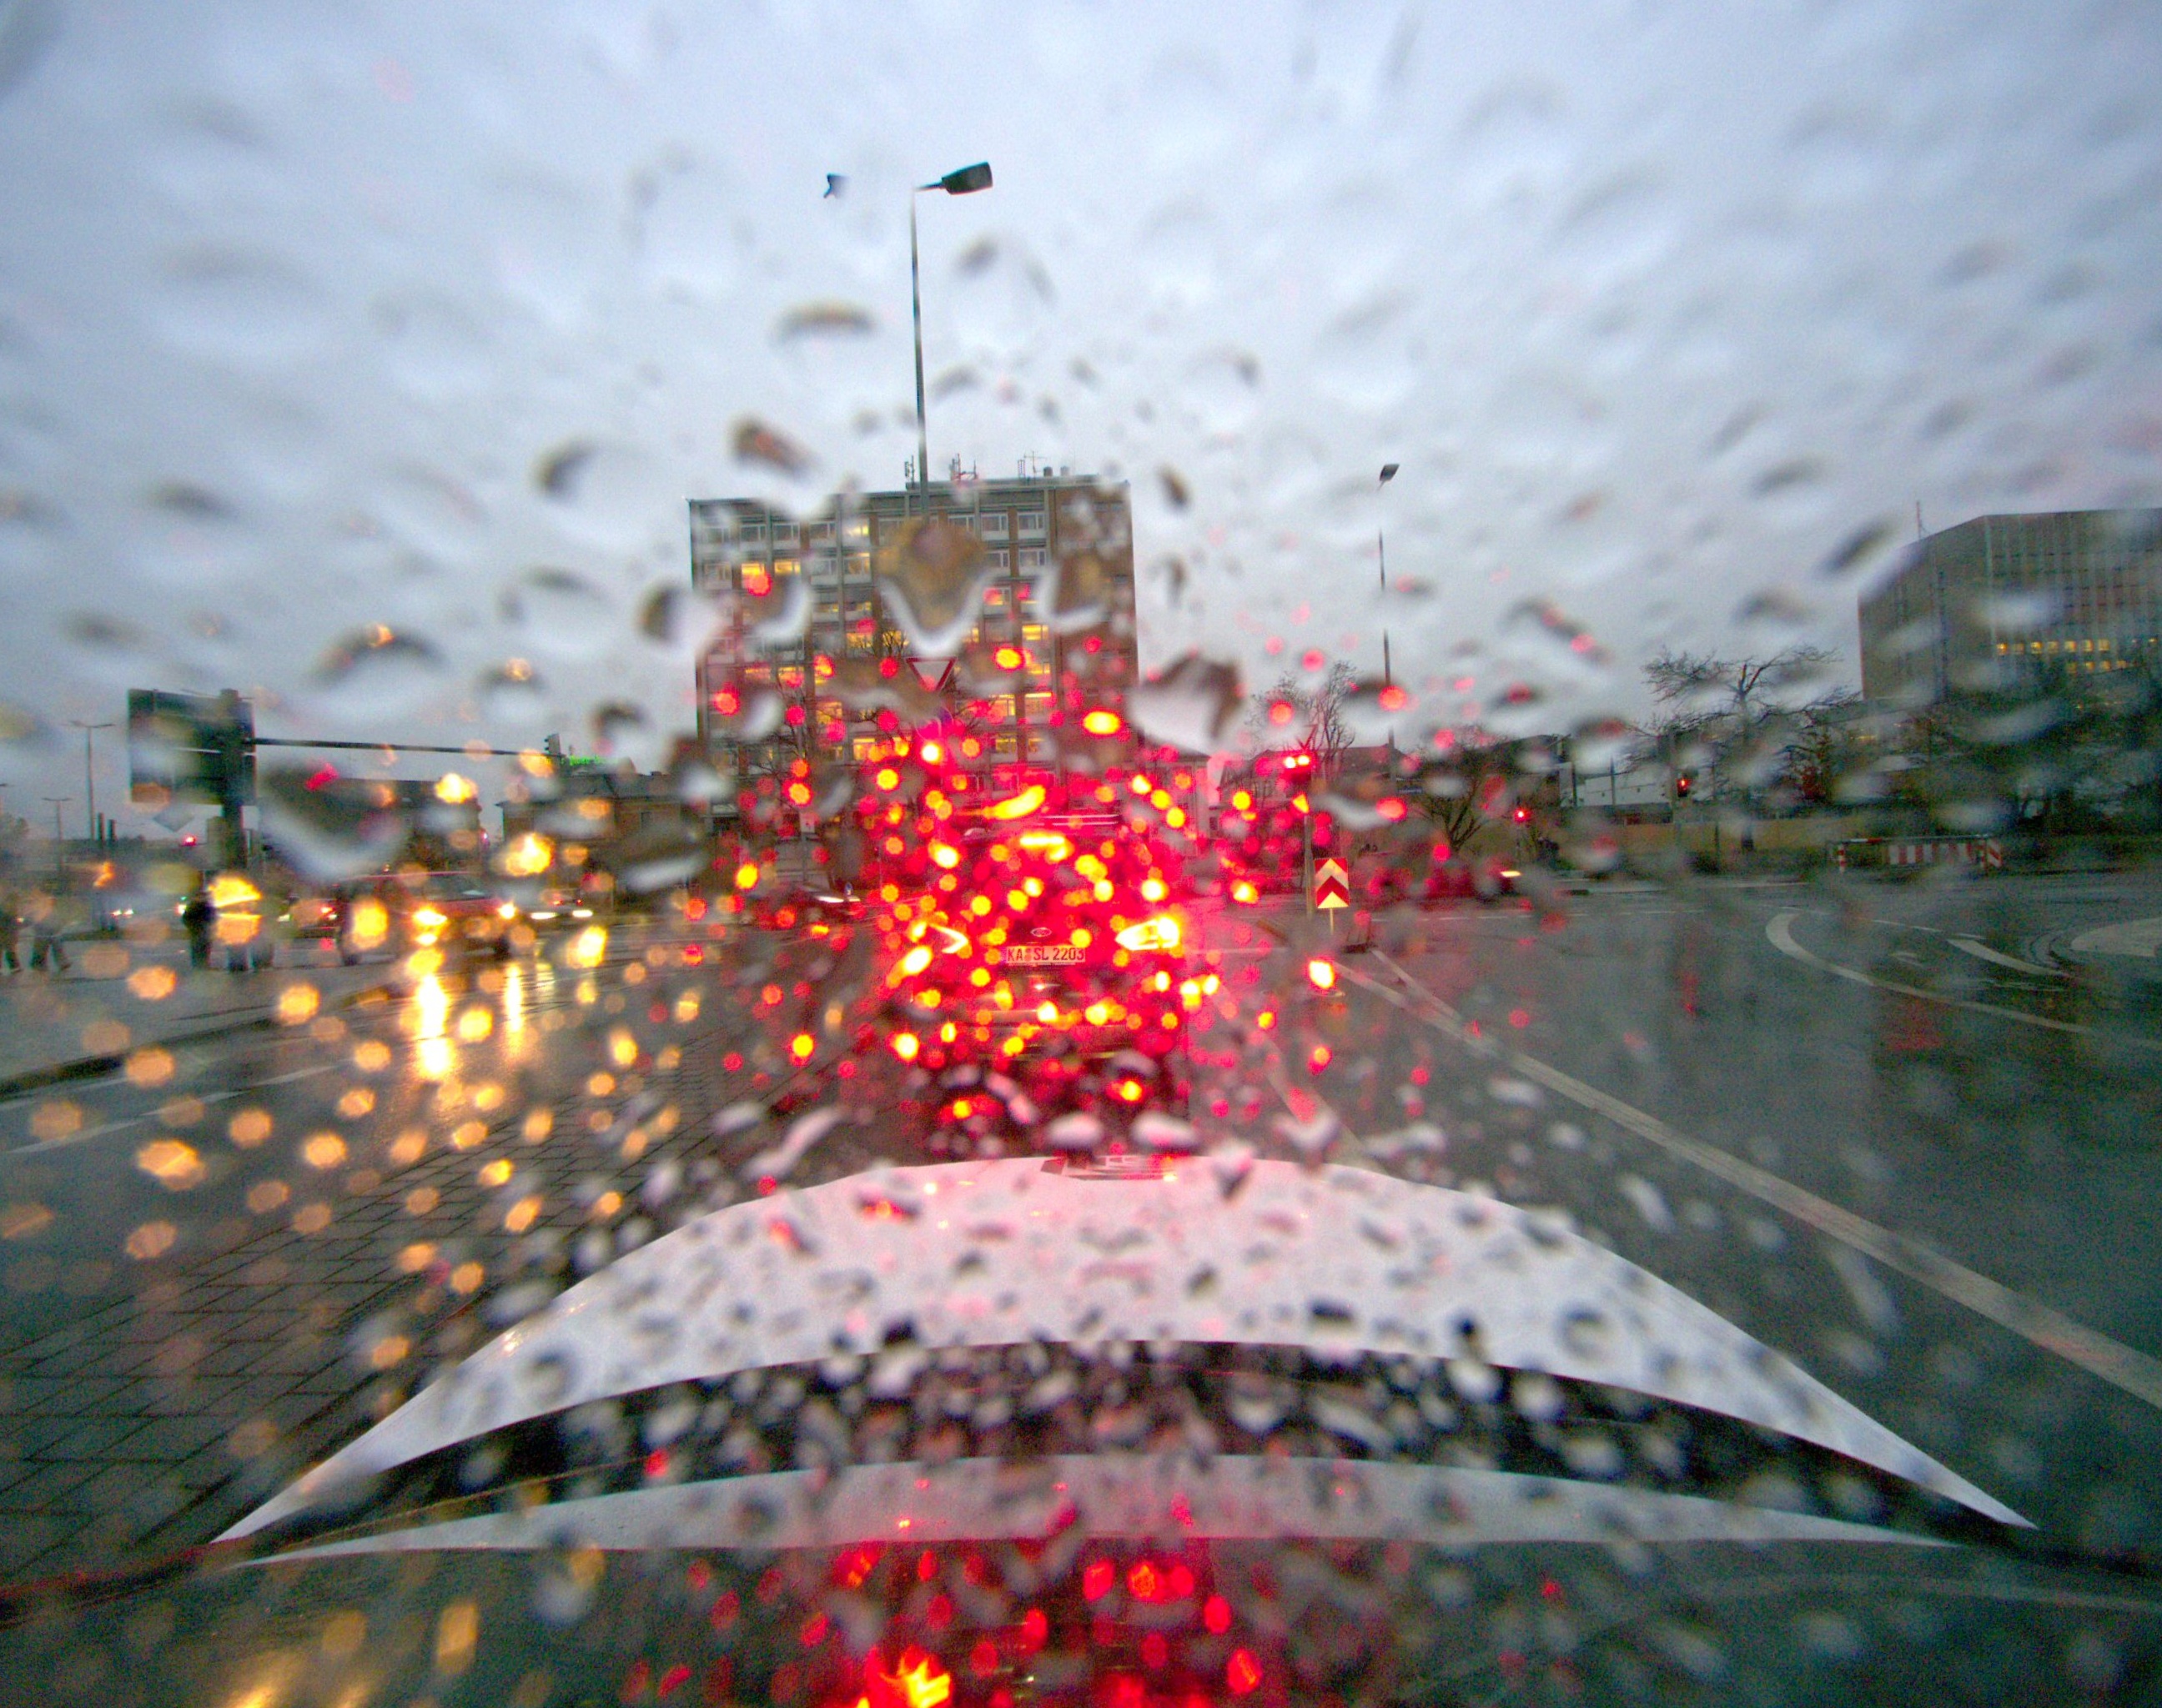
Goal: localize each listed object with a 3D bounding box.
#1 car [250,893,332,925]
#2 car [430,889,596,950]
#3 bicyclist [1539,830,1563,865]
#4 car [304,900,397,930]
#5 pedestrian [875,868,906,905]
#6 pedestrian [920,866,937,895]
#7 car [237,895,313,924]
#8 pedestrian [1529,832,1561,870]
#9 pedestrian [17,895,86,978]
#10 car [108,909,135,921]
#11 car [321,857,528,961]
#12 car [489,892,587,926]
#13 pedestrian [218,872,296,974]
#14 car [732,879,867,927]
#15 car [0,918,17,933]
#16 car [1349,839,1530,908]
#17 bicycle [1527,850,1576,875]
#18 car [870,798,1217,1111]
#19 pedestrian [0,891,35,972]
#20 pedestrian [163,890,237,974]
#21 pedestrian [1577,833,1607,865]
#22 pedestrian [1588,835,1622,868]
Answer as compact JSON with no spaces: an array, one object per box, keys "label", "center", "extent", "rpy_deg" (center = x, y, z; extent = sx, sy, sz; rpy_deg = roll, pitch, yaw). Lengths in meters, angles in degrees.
[{"label":"car","center":[-51.153,3.541,52.770],"extent":[1.649,1.826,3.609],"rpy_deg":[-1,-1,39]},{"label":"car","center":[-17.519,2.010,25.190],"extent":[4.096,1.582,1.847],"rpy_deg":[-3,-1,12]},{"label":"bicyclist","center":[22.105,-0.323,38.323],"extent":[0.681,1.599,0.661],"rpy_deg":[-3,0,7]},{"label":"car","center":[-43.814,3.631,48.916],"extent":[1.582,1.482,3.840],"rpy_deg":[-1,-1,31]},{"label":"pedestrian","center":[-10.092,1.723,43.190],"extent":[0.992,1.842,1.146],"rpy_deg":[-3,2,25]},{"label":"pedestrian","center":[-8.996,1.567,48.108],"extent":[0.634,1.688,0.640],"rpy_deg":[-3,0,18]},{"label":"car","center":[-53.088,3.625,53.662],"extent":[1.505,1.702,3.411],"rpy_deg":[-1,-1,39]},{"label":"pedestrian","center":[23.044,-0.163,40.432],"extent":[0.992,1.799,0.920],"rpy_deg":[-3,0,2]},{"label":"pedestrian","center":[-24.110,1.926,19.079],"extent":[0.669,1.838,0.738],"rpy_deg":[-3,0,16]},{"label":"car","center":[-142.876,9.018,121.254],"extent":[1.747,1.509,3.954],"rpy_deg":[-3,0,-38]},{"label":"car","center":[-15.034,1.262,18.613],"extent":[4.585,2.070,1.942],"rpy_deg":[-4,0,28]},{"label":"car","center":[-27.011,2.693,40.565],"extent":[3.959,1.568,1.833],"rpy_deg":[-1,-1,13]},{"label":"pedestrian","center":[-17.341,1.427,17.166],"extent":[0.996,2.021,0.792],"rpy_deg":[-3,0,-39]},{"label":"car","center":[-9.025,1.566,26.197],"extent":[3.726,1.302,1.708],"rpy_deg":[-3,-1,15]},{"label":"car","center":[-117.473,7.798,88.700],"extent":[3.948,1.509,1.797],"rpy_deg":[-3,0,39]},{"label":"car","center":[9.480,0.517,21.860],"extent":[4.097,1.582,1.847],"rpy_deg":[-3,-1,11]},{"label":"bicycle","center":[22.134,0.404,38.327],"extent":[1.873,1.048,0.661],"rpy_deg":[-3,0,6]},{"label":"car","center":[-0.157,0.593,6.686],"extent":[1.986,1.789,4.001],"rpy_deg":[0,-1,2]},{"label":"pedestrian","center":[-24.288,1.740,18.302],"extent":[0.542,1.770,0.746],"rpy_deg":[-3,0,15]},{"label":"pedestrian","center":[-19.537,1.712,18.072],"extent":[0.653,1.755,0.856],"rpy_deg":[-3,0,18]},{"label":"pedestrian","center":[25.333,-0.235,40.381],"extent":[0.889,1.533,0.886],"rpy_deg":[-3,0,2]},{"label":"pedestrian","center":[25.323,-0.115,39.348],"extent":[0.921,1.533,1.043],"rpy_deg":[-3,0,2]}]
